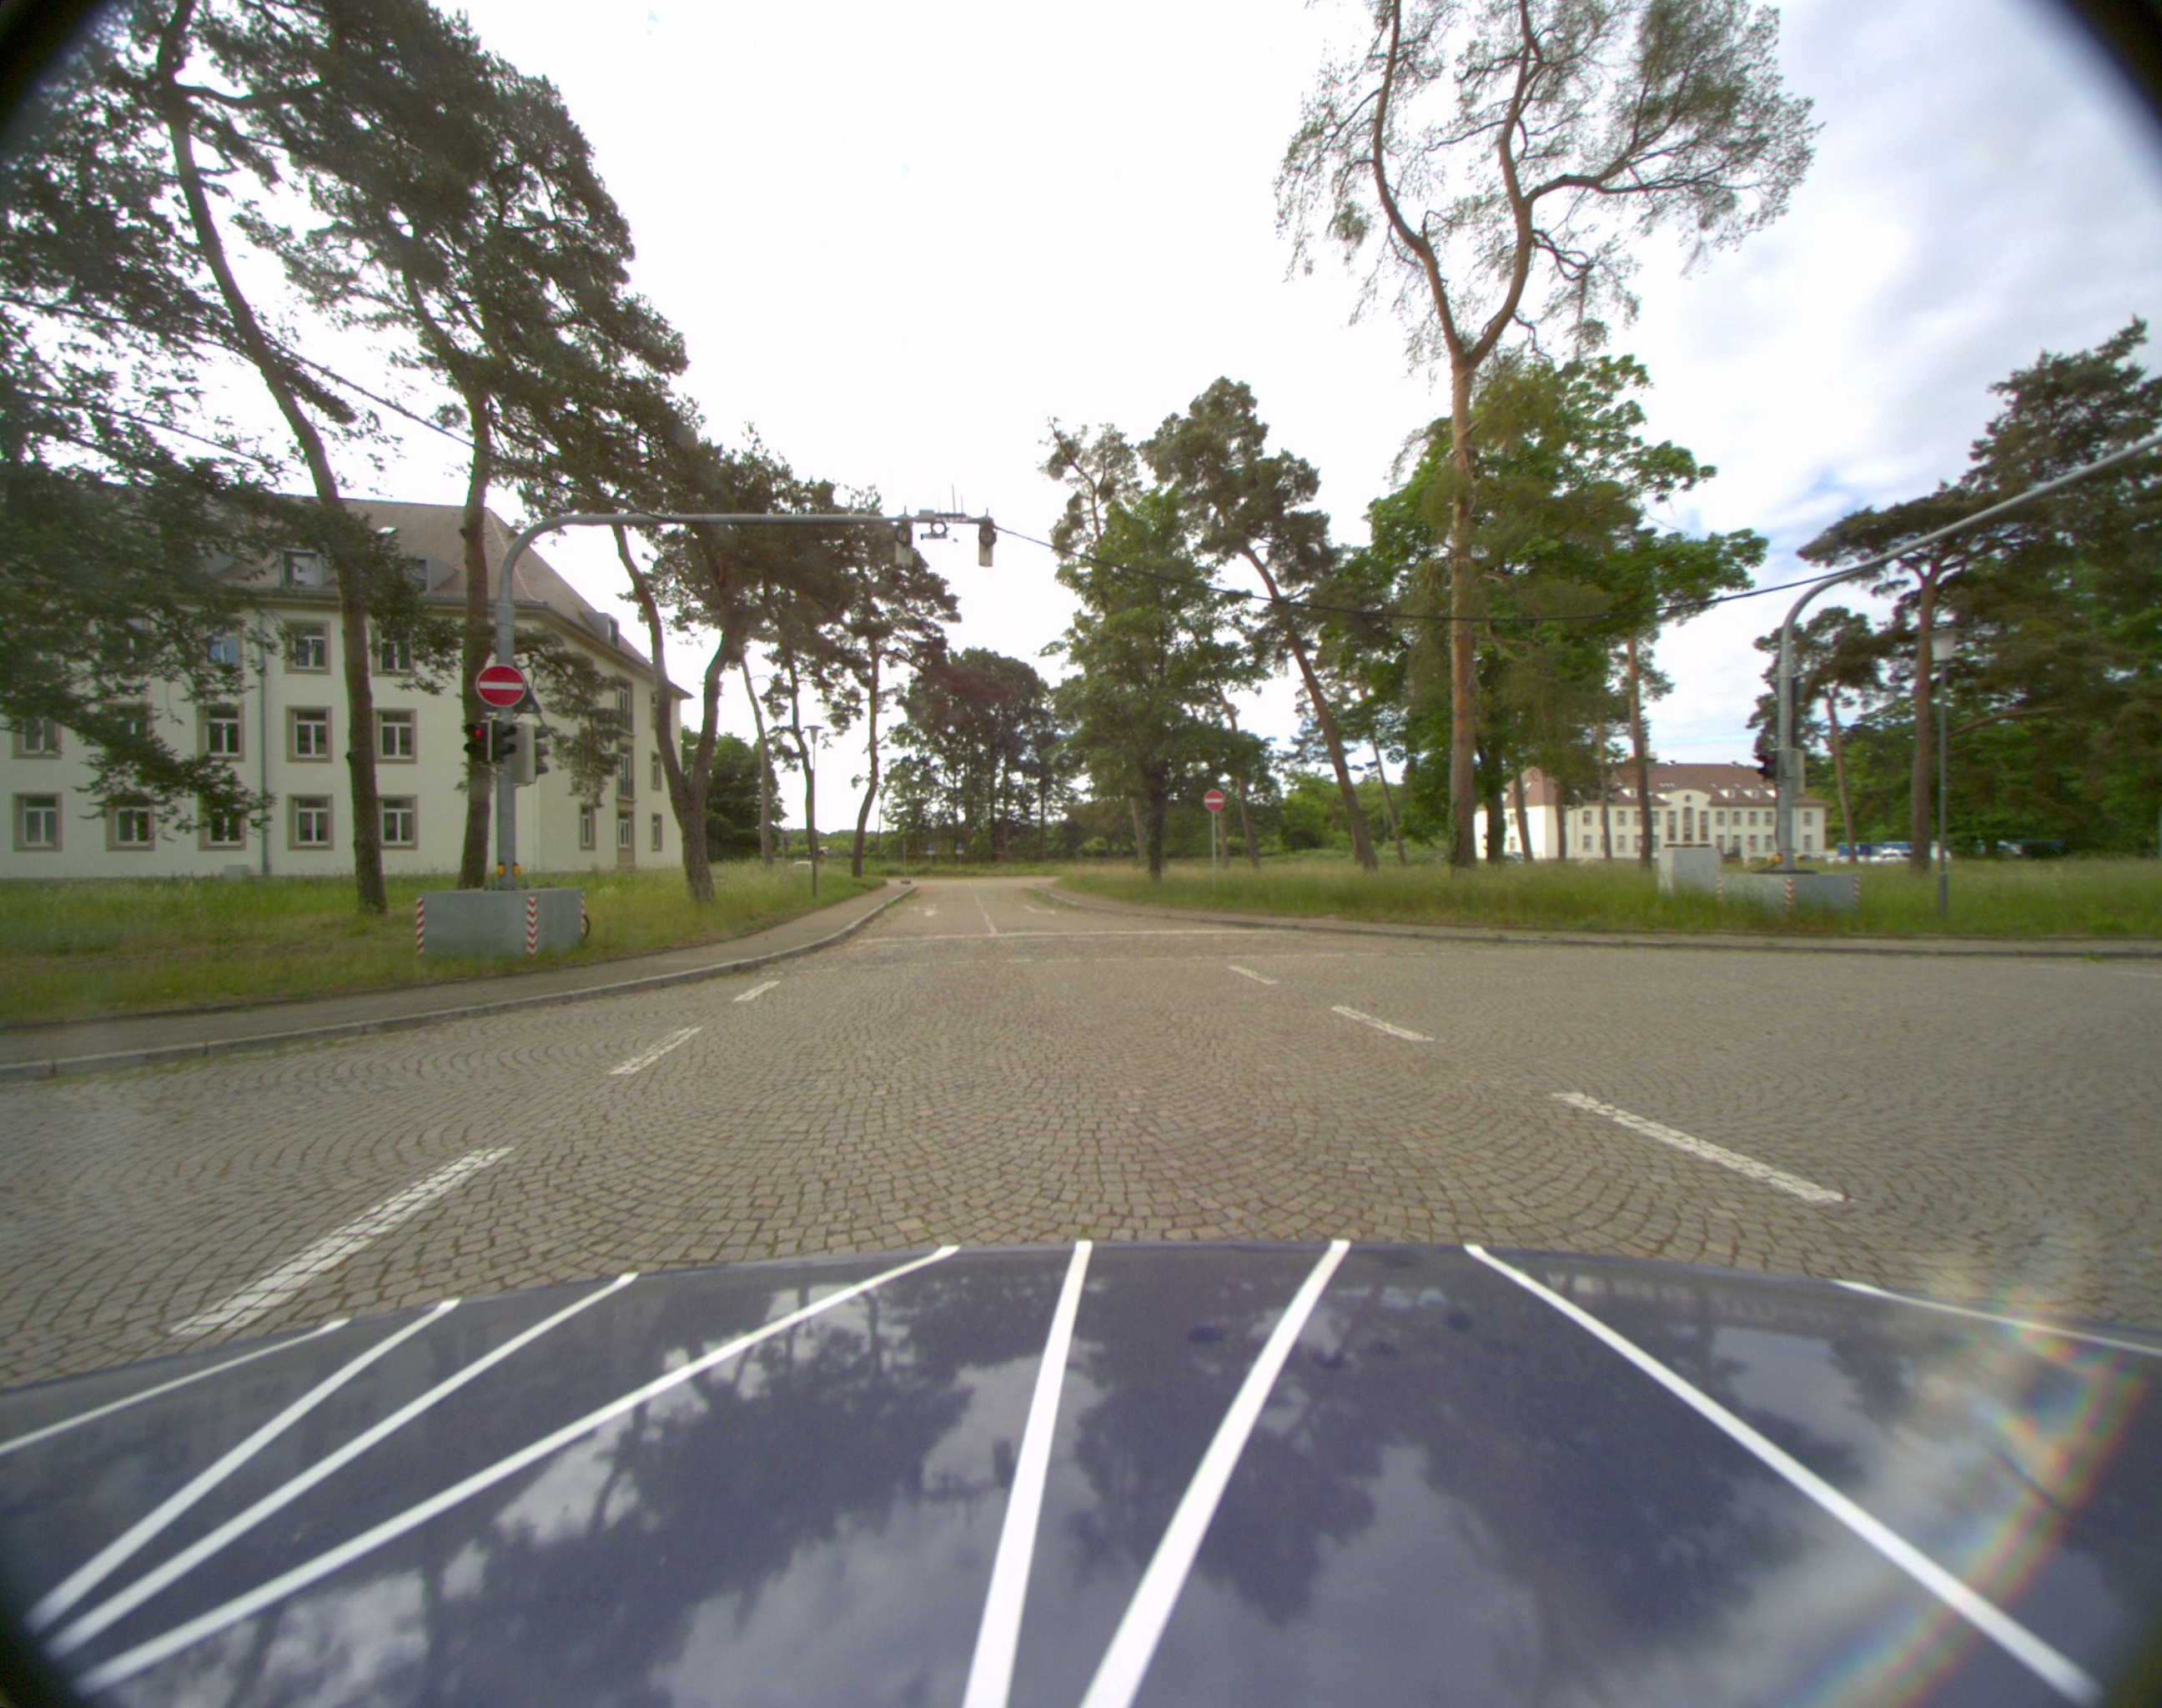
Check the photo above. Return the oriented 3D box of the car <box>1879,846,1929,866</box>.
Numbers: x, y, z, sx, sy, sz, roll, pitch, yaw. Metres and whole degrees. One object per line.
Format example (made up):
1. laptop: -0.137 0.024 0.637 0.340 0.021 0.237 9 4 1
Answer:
1. car: 97.914 0.239 90.436 4.447 2.350 1.862 -1 0 -8

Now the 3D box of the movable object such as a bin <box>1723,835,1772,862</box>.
1. movable object such as a bin: 97.126 -0.784 110.836 2.052 3.747 5.462 -1 -1 -5

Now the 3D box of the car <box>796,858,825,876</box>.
1. car: -21.480 1.037 60.380 1.488 1.428 3.193 -1 -1 -7

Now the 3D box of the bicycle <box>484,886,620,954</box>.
1. bicycle: -8.259 1.028 11.903 1.677 0.965 0.582 1 2 -5
